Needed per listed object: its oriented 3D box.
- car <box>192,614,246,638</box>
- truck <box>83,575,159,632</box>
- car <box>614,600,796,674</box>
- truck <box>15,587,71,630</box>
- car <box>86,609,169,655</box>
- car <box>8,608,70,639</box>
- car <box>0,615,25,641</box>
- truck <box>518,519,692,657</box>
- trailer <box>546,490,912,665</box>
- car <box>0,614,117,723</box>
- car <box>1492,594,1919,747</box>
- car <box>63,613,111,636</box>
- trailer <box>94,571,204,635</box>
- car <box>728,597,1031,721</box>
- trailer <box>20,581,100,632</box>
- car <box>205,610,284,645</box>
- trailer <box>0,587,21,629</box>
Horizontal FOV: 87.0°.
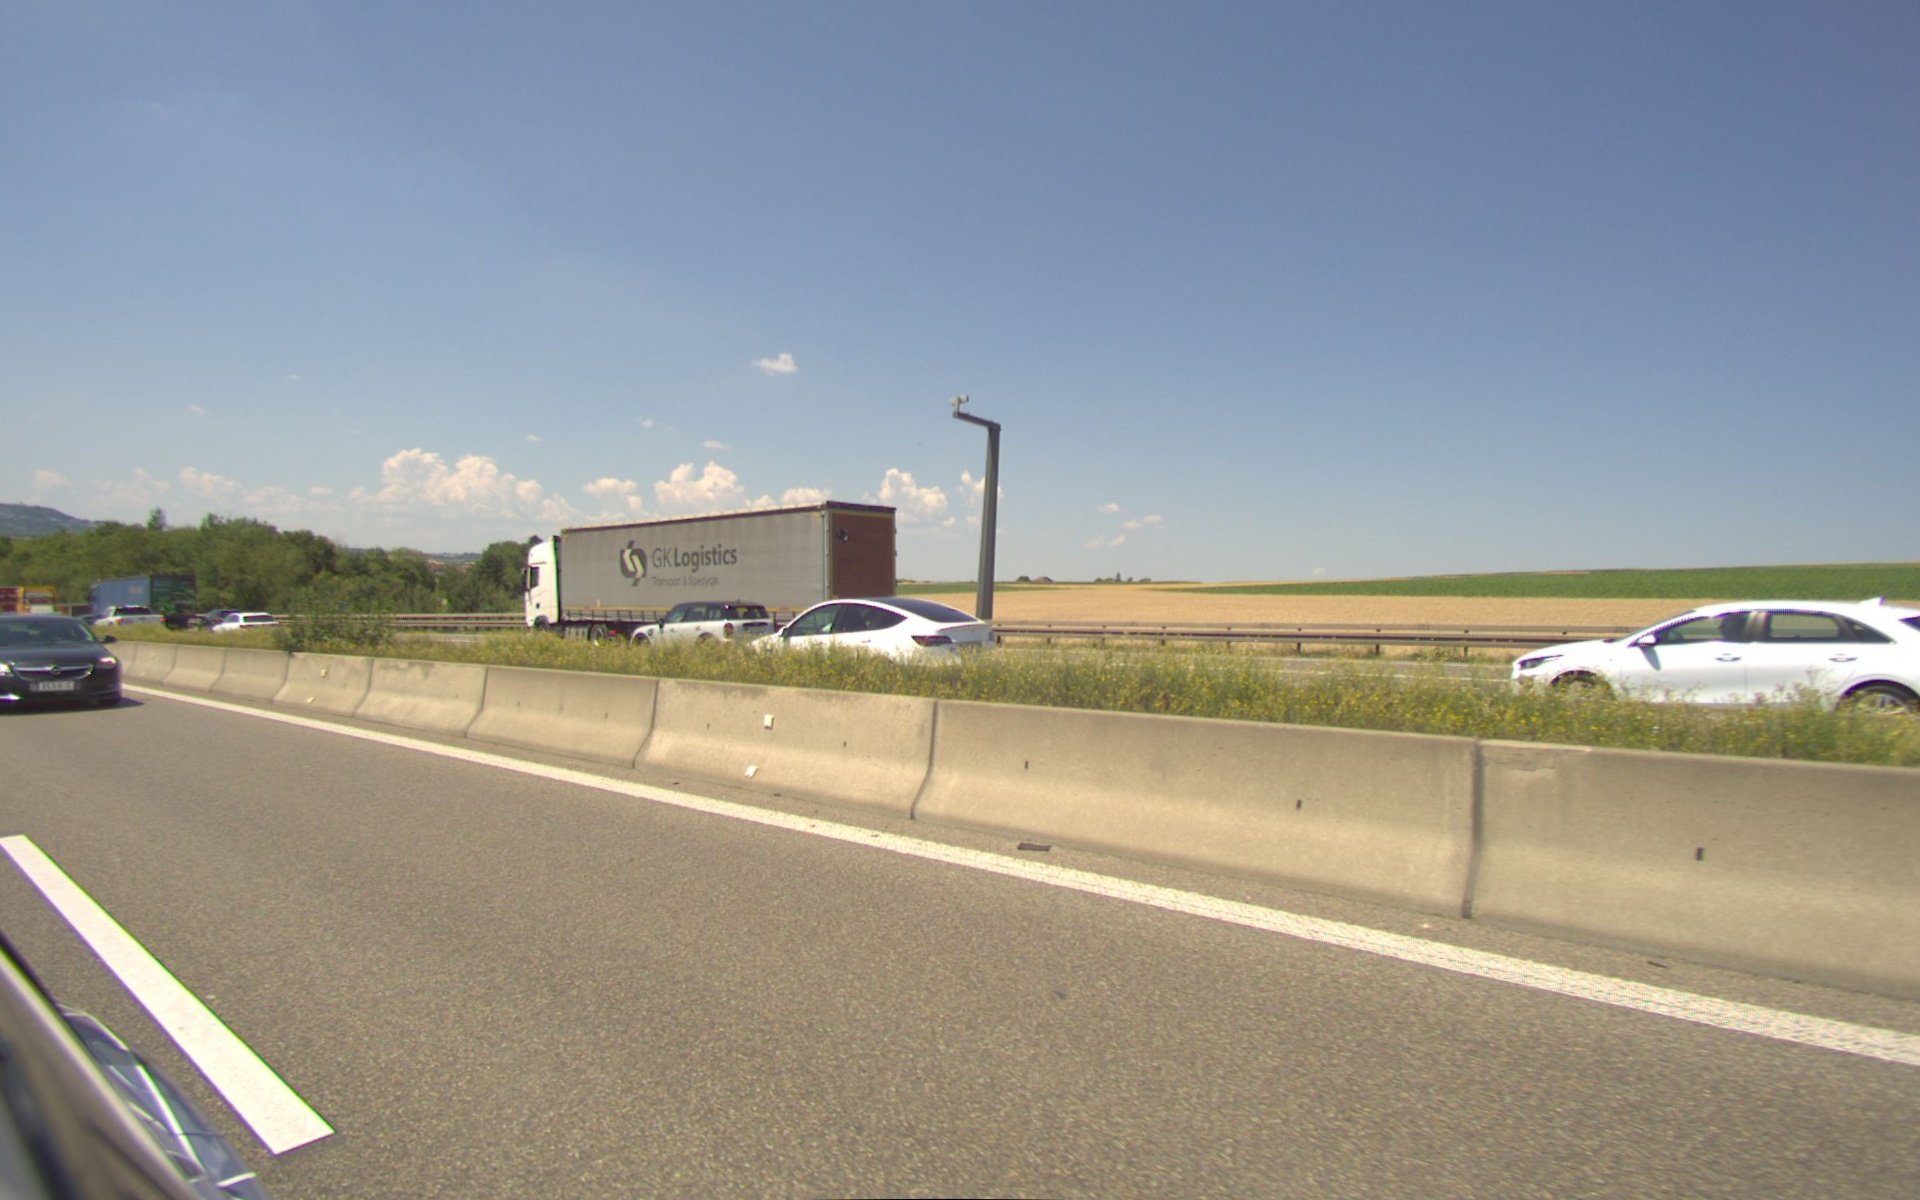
[{"bbox_3d":[-46.223,1.599,63.092,4.345,1.396,1.641,-1,0,39],"label":"car"},{"bbox_3d":[-63.563,0.256,76.616,6.927,4.121,3.046,-1,0,39],"label":"truck"},{"bbox_3d":[-6.189,0.825,24.246,4.586,1.599,1.973,0,0,41],"label":"car"},{"bbox_3d":[-84.556,0.772,93.254,7.089,3.866,2.724,-1,0,39],"label":"truck"},{"bbox_3d":[-38.650,1.425,46.919,5.672,1.918,1.973,0,1,40],"label":"car"},{"bbox_3d":[-53.241,1.360,58.496,4.472,1.685,1.974,-1,0,39],"label":"car"},{"bbox_3d":[-64.971,1.890,68.381,4.345,1.646,1.974,-1,0,39],"label":"car"},{"bbox_3d":[-12.433,-0.382,35.233,6.144,4.360,3.100,-1,0,41],"label":"truck"},{"bbox_3d":[-7.787,-0.525,31.180,14.538,4.357,3.091,-1,0,42],"label":"trailer"},{"bbox_3d":[-15.342,1.026,16.498,4.748,1.555,1.784,-1,0,42],"label":"car"},{"bbox_3d":[8.786,0.690,11.489,4.570,1.467,1.847,-1,0,41],"label":"car"},{"bbox_3d":[-57.275,1.627,66.393,3.723,1.414,1.610,-1,0,36],"label":"car"},{"bbox_3d":[-58.292,0.178,72.497,14.365,4.225,3.130,0,1,39],"label":"trailer"},{"bbox_3d":[-1.329,0.788,15.233,4.586,1.583,1.860,-1,0,41],"label":"car"},{"bbox_3d":[-79.011,0.606,88.701,14.364,4.131,2.924,-1,0,39],"label":"trailer"},{"bbox_3d":[-33.130,1.246,46.831,4.486,1.471,1.825,-1,0,39],"label":"car"},{"bbox_3d":[-101.337,0.862,105.287,14.359,4.131,3.057,0,0,38],"label":"trailer"}]
